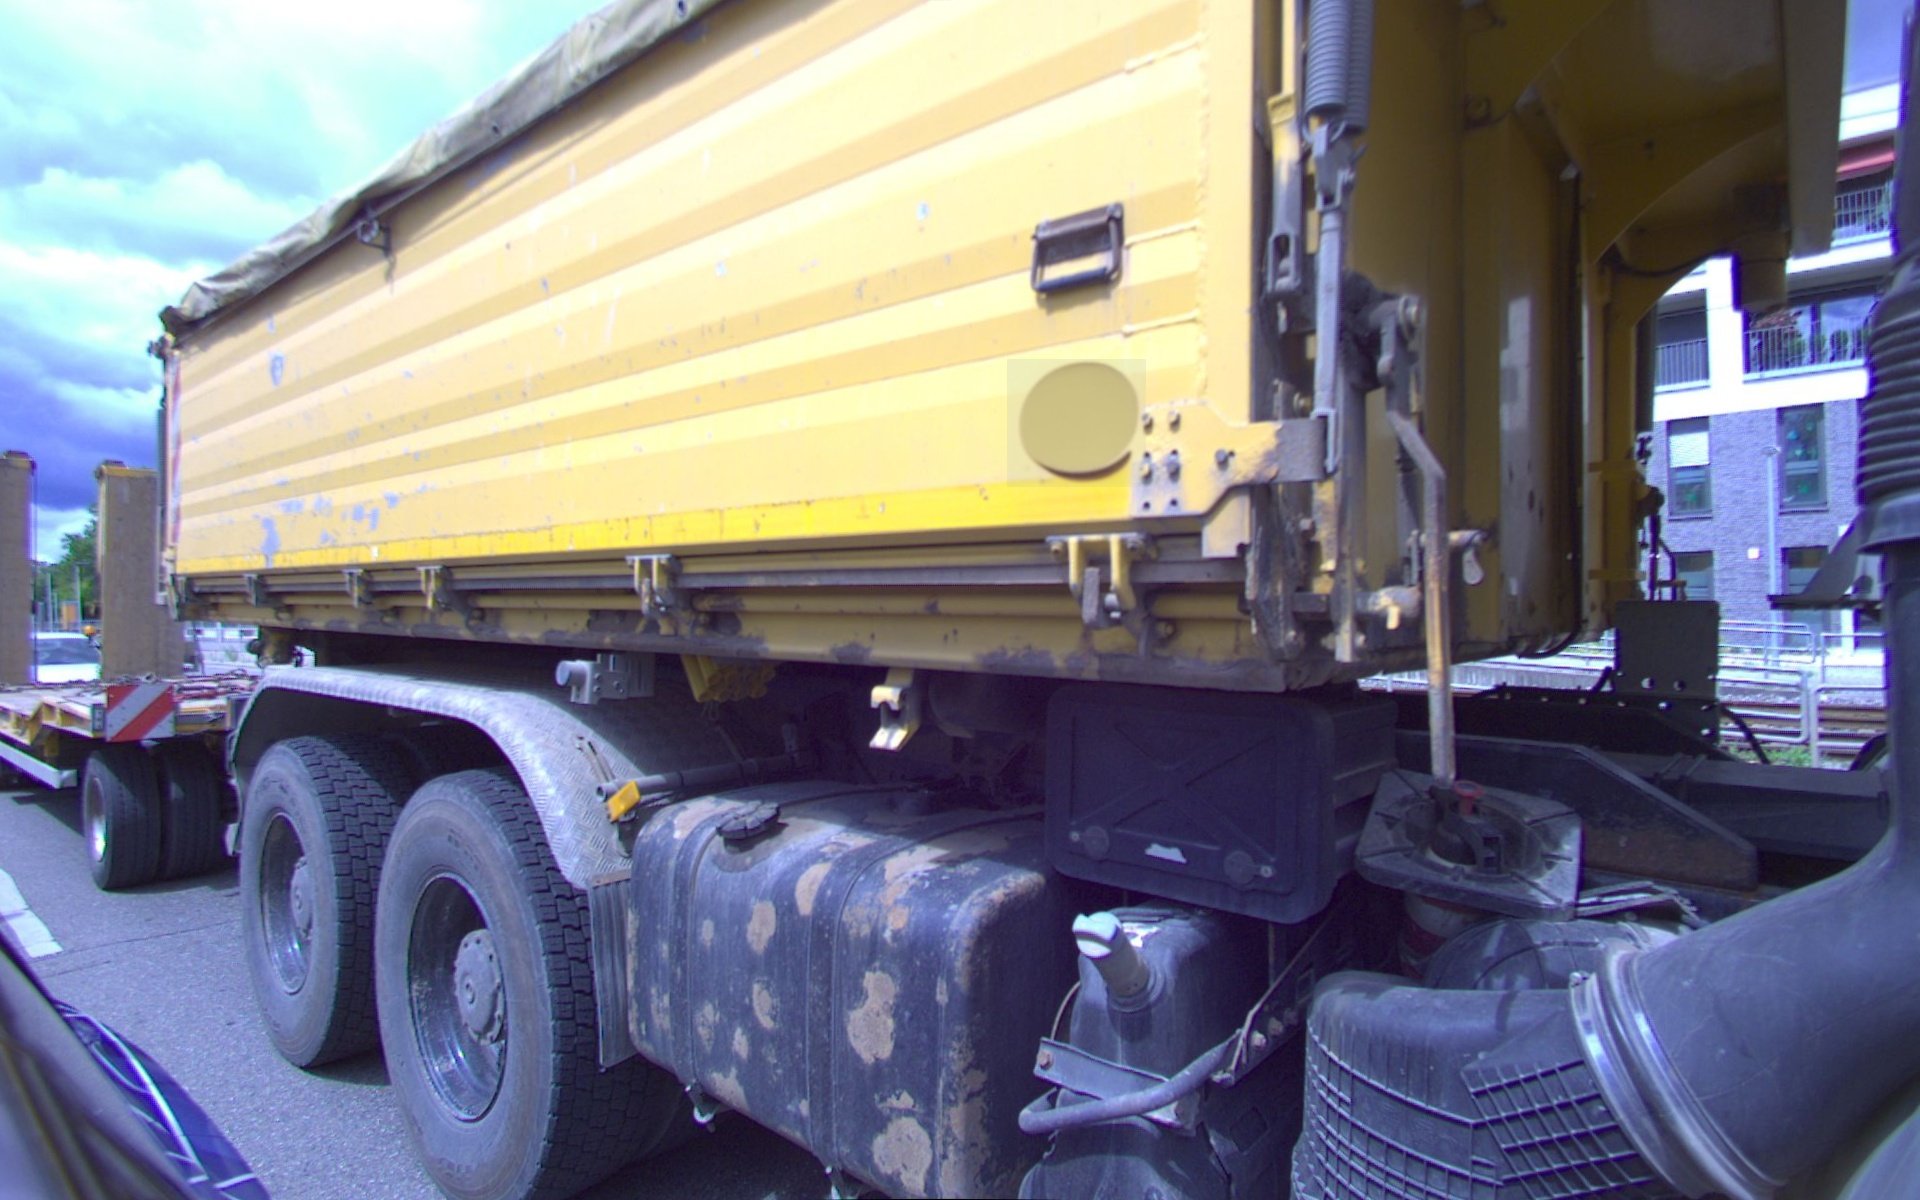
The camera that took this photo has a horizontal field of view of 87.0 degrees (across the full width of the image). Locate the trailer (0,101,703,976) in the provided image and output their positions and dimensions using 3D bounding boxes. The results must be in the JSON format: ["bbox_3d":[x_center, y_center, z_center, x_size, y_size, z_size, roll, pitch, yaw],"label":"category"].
[{"bbox_3d":[-6.851,-0.142,9.014,10.957,3.726,3.018,-2,-1,40],"label":"trailer"}]

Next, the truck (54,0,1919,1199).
[{"bbox_3d":[0.159,-0.225,2.906,7.999,3.420,3.019,-2,-1,40],"label":"truck"}]

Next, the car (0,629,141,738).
[{"bbox_3d":[-13.944,1.188,15.353,3.784,1.427,1.761,-2,-1,41],"label":"car"}]
